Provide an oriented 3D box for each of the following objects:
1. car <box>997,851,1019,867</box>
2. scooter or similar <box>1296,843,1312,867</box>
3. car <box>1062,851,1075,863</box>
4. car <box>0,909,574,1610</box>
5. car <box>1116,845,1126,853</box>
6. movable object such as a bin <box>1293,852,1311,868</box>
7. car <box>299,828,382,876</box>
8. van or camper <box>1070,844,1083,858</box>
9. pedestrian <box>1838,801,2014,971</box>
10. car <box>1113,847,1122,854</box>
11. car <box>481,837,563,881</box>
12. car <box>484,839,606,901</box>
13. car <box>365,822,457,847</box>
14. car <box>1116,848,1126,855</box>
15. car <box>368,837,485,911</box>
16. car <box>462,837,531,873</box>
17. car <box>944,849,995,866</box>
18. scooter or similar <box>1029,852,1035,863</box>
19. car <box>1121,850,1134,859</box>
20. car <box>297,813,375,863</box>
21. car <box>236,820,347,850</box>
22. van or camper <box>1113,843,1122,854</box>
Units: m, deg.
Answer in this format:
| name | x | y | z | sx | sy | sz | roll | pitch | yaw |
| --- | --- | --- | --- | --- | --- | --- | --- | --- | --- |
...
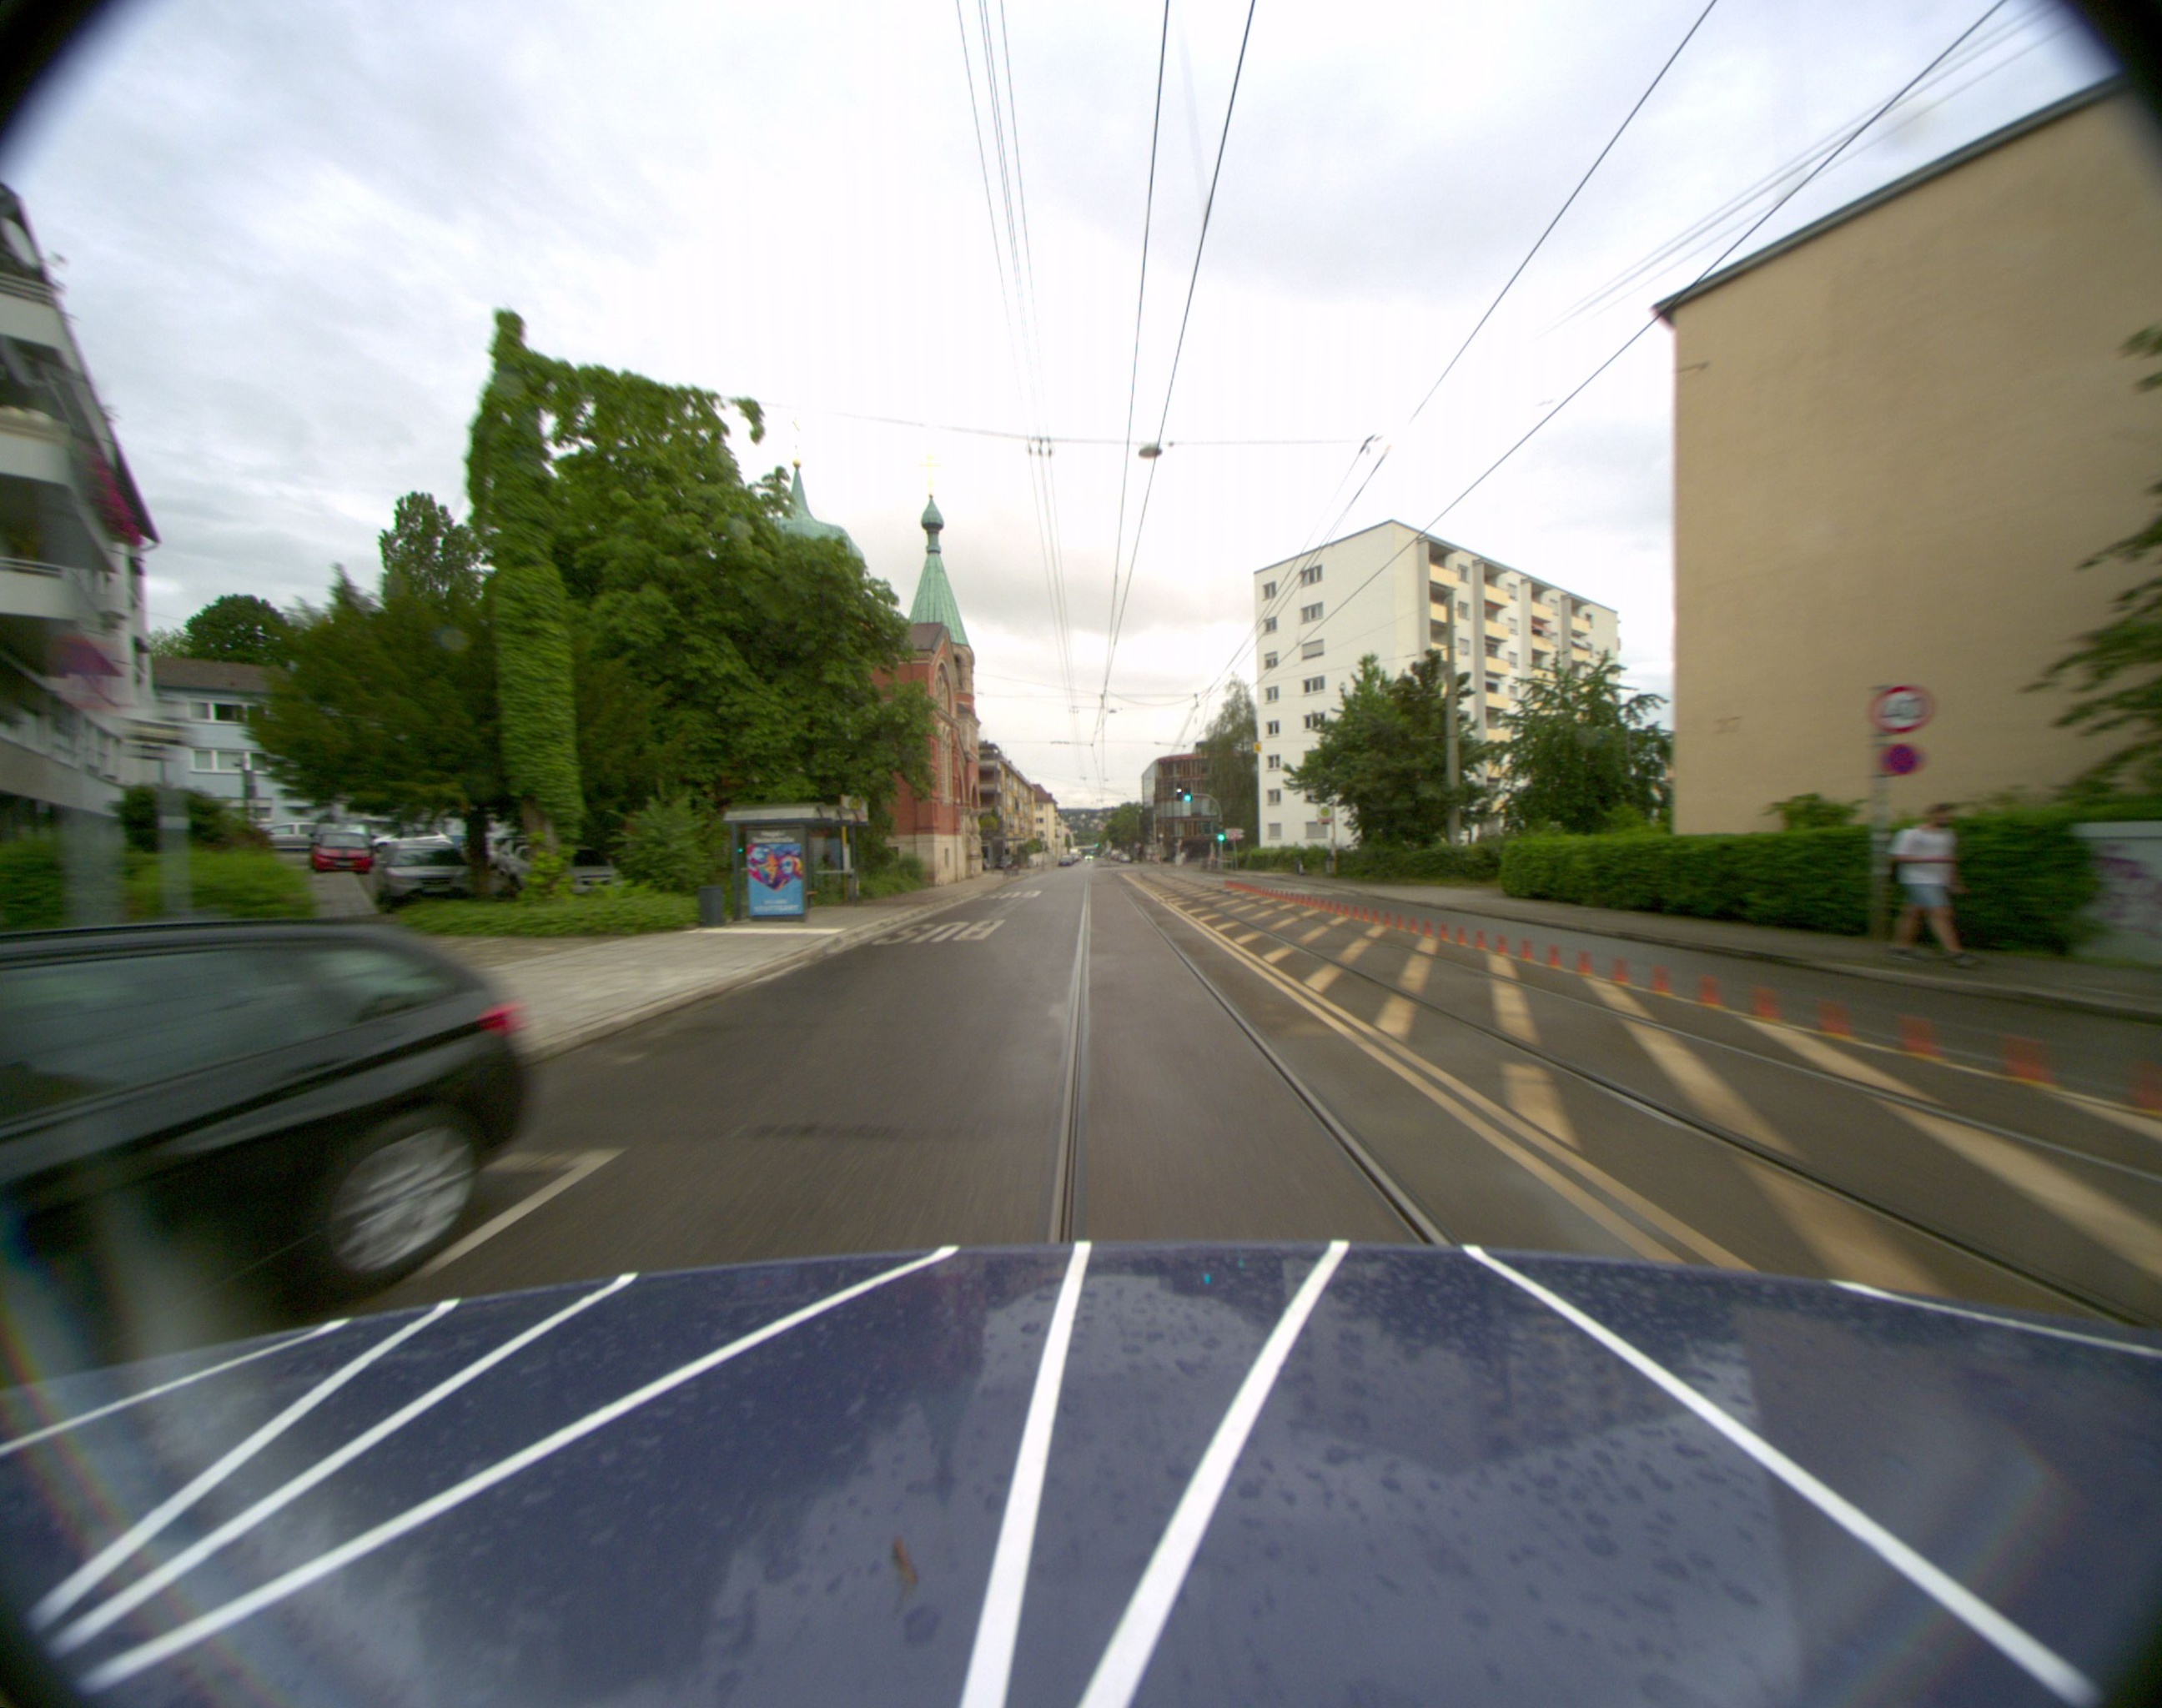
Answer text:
| name | x | y | z | sx | sy | sz | roll | pitch | yaw |
| --- | --- | --- | --- | --- | --- | --- | --- | --- | --- |
| car | -7.781 | 0.476 | 81.537 | 1.858 | 1.495 | 4.447 | 1 | 2 | 1 |
| scooter or similar | 11.903 | 0.057 | 40.545 | 0.573 | 1.177 | 1.600 | -2 | 2 | 10 |
| car | -1.889 | 0.422 | 113.307 | 1.734 | 1.452 | 4.476 | -3 | 2 | 0 |
| car | -3.490 | 1.077 | 1.461 | 1.863 | 1.478 | 4.644 | -3 | 1 | -1 |
| car | 9.249 | -1.066 | 175.452 | 1.881 | 1.700 | 3.998 | -2 | 2 | -2 |
| movable object such as a bin | 12.381 | 0.328 | 42.621 | 0.688 | 0.877 | 0.760 | -3 | 2 | -4 |
| car | -28.535 | -0.079 | 29.243 | 4.190 | 1.686 | 1.845 | -1 | 2 | 40 |
| van or camper | -1.147 | -0.748 | 182.329 | 2.753 | 3.041 | 7.028 | -2 | 2 | 2 |
| pedestrian | 9.921 | 0.346 | 8.962 | 0.921 | 1.835 | 1.016 | -4 | 2 | -4 |
| car | 9.382 | -0.897 | 195.497 | 1.998 | 1.566 | 3.998 | -3 | 3 | 0 |
| car | -21.917 | 0.197 | 29.755 | 3.984 | 1.555 | 1.845 | -1 | 2 | 44 |
| car | -15.409 | 0.419 | 21.776 | 4.372 | 1.549 | 1.845 | -1 | 2 | 42 |
| car | -39.633 | -1.145 | 45.075 | 4.007 | 1.398 | 1.824 | -2 | 0 | -40 |
| car | 8.853 | -0.656 | 170.406 | 1.881 | 1.390 | 3.998 | -2 | 2 | -2 |
| car | -17.220 | 0.479 | 19.926 | 4.190 | 1.686 | 1.845 | -1 | 2 | 44 |
| car | -25.601 | 0.051 | 33.225 | 3.825 | 1.437 | 1.747 | -1 | 2 | 44 |
| car | -10.542 | 0.349 | 71.834 | 4.459 | 1.448 | 1.996 | 2 | -3 | -45 |
| scooter or similar | -5.807 | 0.404 | 90.660 | 0.536 | 1.320 | 1.659 | 3 | 1 | 2 |
| car | 7.942 | 0.122 | 130.383 | 1.862 | 1.386 | 4.644 | -1 | 1 | 0 |
| car | -31.871 | -0.674 | 32.475 | 3.988 | 1.966 | 2.003 | -1 | 3 | 42 |
| car | -43.199 | -1.041 | 41.698 | 4.008 | 1.521 | 1.824 | -2 | 0 | -40 |
| van or camper | 9.613 | -1.399 | 201.896 | 2.143 | 2.588 | 5.549 | -3 | 2 | 2 |
